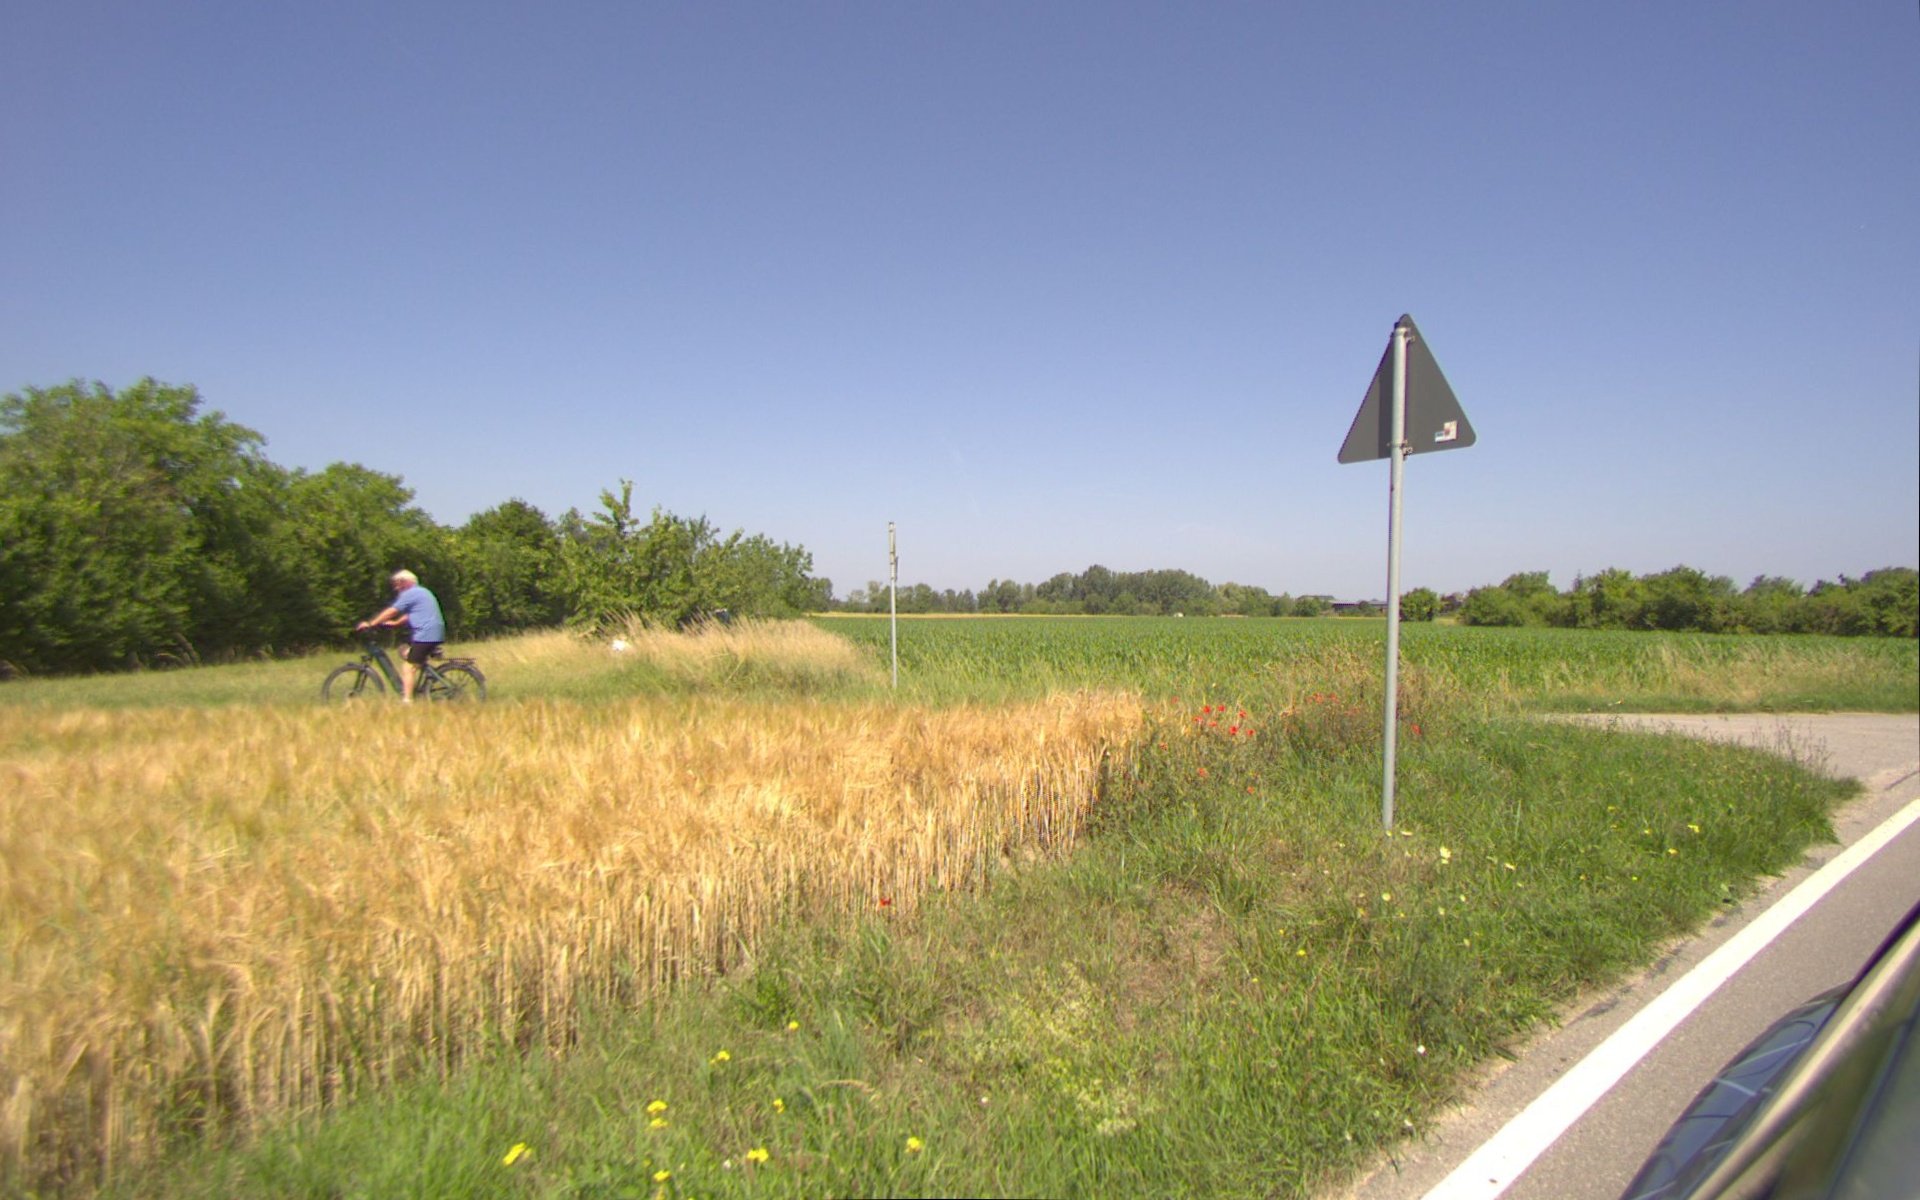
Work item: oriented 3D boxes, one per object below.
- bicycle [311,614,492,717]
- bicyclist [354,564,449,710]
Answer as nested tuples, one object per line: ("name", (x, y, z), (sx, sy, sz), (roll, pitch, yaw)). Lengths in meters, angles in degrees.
("bicycle", (-6.278, 0.725, 11.421), (1.734, 1.130, 0.522), (0, -1, -3))
("bicyclist", (-6.288, 0.406, 11.425), (0.721, 1.594, 0.675), (0, -1, -3))
